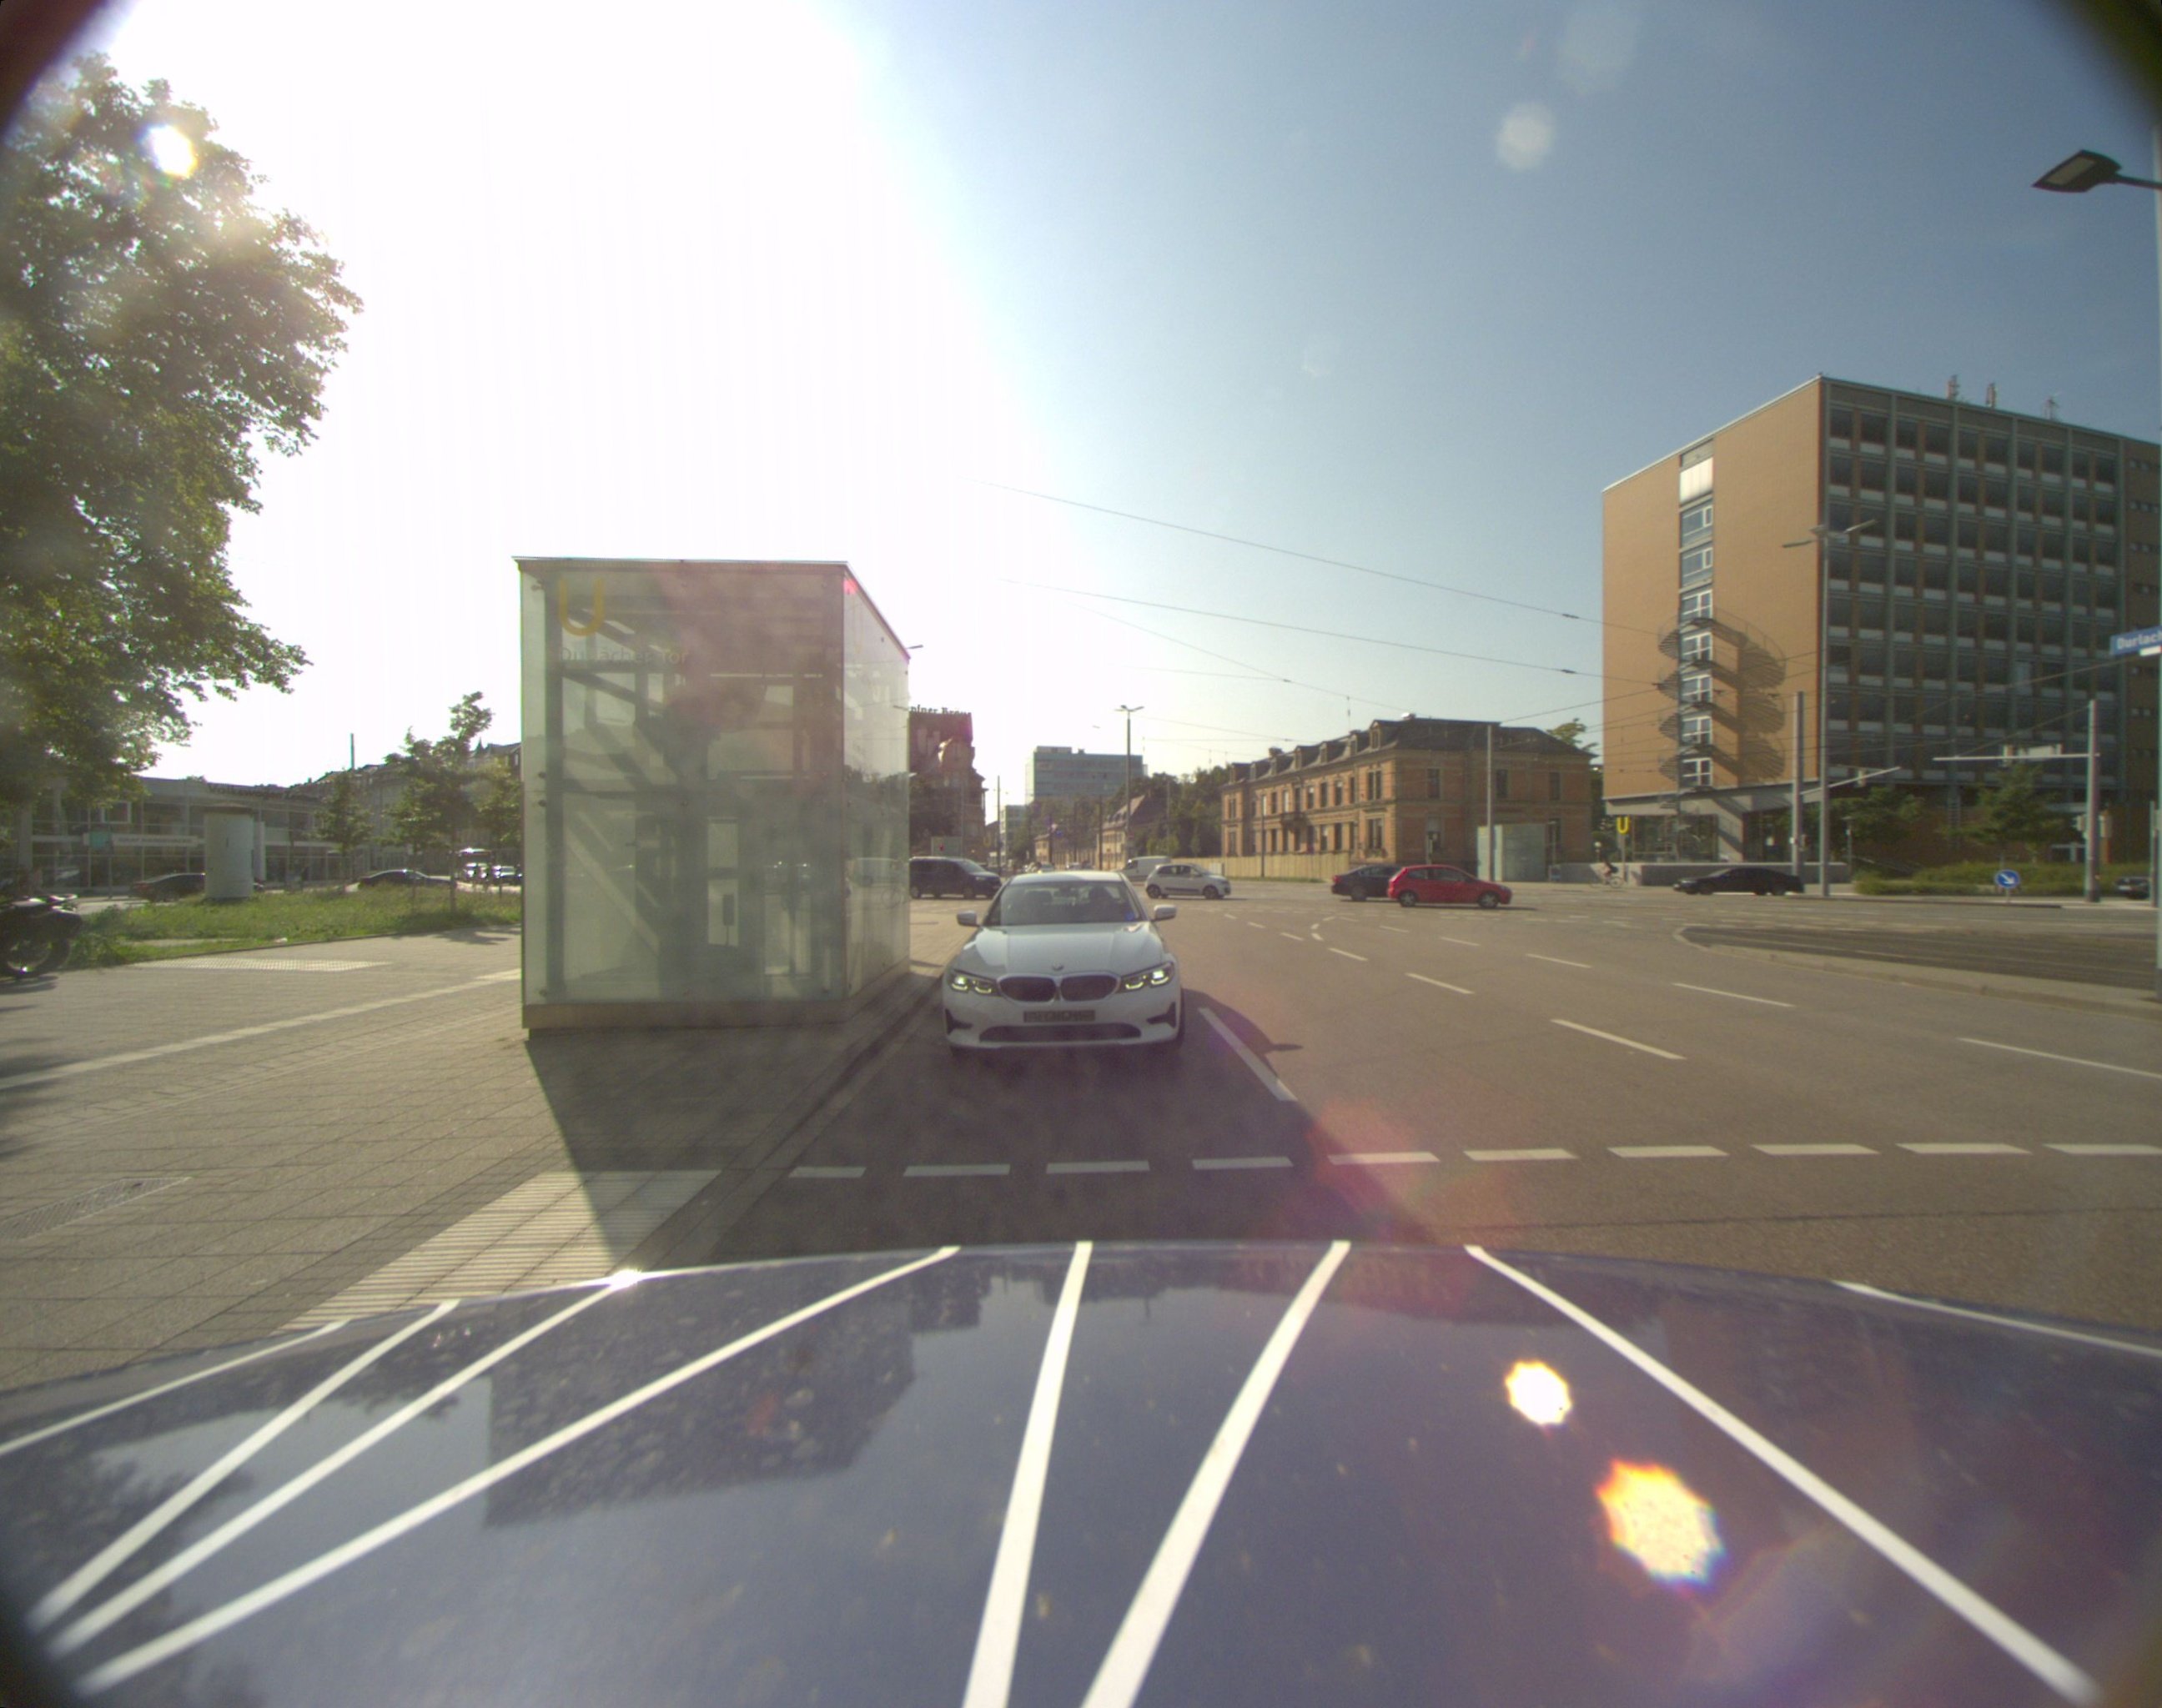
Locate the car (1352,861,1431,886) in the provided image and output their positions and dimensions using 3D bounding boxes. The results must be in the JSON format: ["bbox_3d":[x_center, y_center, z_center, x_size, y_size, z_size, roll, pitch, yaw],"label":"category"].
[{"bbox_3d":[18.545,1.186,45.567,4.280,1.456,1.677,0,-2,19],"label":"car"}]

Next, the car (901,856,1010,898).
[{"bbox_3d":[-5.733,1.013,34.563,4.761,1.817,1.807,0,0,27],"label":"car"}]

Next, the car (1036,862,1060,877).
[{"bbox_3d":[-3.276,1.526,74.261,1.927,1.368,3.997,0,0,-8],"label":"car"}]

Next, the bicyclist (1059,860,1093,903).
[{"bbox_3d":[-0.160,0.978,27.414,0.970,1.467,1.088,0,2,15],"label":"bicyclist"}]

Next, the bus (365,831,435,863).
[{"bbox_3d":[-67.494,-0.623,75.193,11.464,2.966,2.904,0,0,37],"label":"bus"}]

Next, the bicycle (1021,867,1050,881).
[{"bbox_3d":[-3.549,1.539,59.539,2.184,1.089,0.529,0,0,7],"label":"bicycle"}]

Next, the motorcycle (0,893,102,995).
[{"bbox_3d":[-12.997,1.068,8.563,0.704,1.140,2.304,0,0,16],"label":"motorcycle"}]

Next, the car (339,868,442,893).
[{"bbox_3d":[-41.544,1.580,45.783,1.994,1.362,4.408,0,0,42],"label":"car"}]

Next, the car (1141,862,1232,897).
[{"bbox_3d":[4.567,1.056,32.894,3.548,1.427,1.806,0,0,25],"label":"car"}]

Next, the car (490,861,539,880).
[{"bbox_3d":[-44.461,1.258,59.646,3.621,1.433,1.807,0,0,31],"label":"car"}]

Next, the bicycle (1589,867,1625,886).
[{"bbox_3d":[32.459,1.386,46.929,1.768,1.187,0.402,0,0,26],"label":"bicycle"}]

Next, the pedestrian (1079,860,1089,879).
[{"bbox_3d":[0.259,1.357,65.731,0.792,1.677,0.661,0,0,9],"label":"pedestrian"}]

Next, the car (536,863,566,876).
[{"bbox_3d":[-61.865,1.753,88.727,3.829,1.452,1.745,0,0,37],"label":"car"}]

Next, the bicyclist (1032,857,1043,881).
[{"bbox_3d":[-3.431,1.141,59.519,0.709,1.851,0.782,0,0,7],"label":"bicyclist"}]

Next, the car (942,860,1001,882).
[{"bbox_3d":[-8.093,1.251,56.434,3.967,1.572,1.747,0,-1,19],"label":"car"}]

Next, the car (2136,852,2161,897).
[{"bbox_3d":[42.612,0.758,27.850,4.281,1.696,1.955,0,-2,16],"label":"car"}]

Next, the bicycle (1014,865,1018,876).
[{"bbox_3d":[-6.489,1.627,75.709,0.401,1.084,1.927,0,0,-6],"label":"bicycle"}]

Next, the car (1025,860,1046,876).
[{"bbox_3d":[-5.073,1.532,84.430,1.927,1.626,3.997,0,0,-8],"label":"car"}]

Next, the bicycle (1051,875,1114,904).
[{"bbox_3d":[0.056,1.296,27.498,2.193,0.983,0.530,-2,1,15],"label":"bicycle"}]

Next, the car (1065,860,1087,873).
[{"bbox_3d":[-0.549,1.271,78.037,1.693,1.319,3.997,0,0,-8],"label":"car"}]

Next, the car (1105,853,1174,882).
[{"bbox_3d":[3.933,0.929,50.747,4.280,1.874,1.798,0,-2,20],"label":"car"}]

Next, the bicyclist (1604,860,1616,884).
[{"bbox_3d":[32.628,1.103,46.831,0.547,1.471,0.398,0,0,26],"label":"bicyclist"}]

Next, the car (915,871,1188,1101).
[{"bbox_3d":[-0.216,0.956,7.601,1.814,1.419,4.774,-2,0,0],"label":"car"}]

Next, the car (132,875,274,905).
[{"bbox_3d":[-45.292,1.824,39.321,1.995,1.362,4.406,0,0,25],"label":"car"}]

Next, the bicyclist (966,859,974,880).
[{"bbox_3d":[-9.228,1.253,63.105,0.587,1.720,0.595,0,0,-14],"label":"bicyclist"}]

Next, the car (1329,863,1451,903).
[{"bbox_3d":[12.103,1.093,29.852,4.339,1.443,1.806,0,0,24],"label":"car"}]

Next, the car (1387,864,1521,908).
[{"bbox_3d":[12.716,1.060,26.155,3.990,1.407,1.806,0,0,23],"label":"car"}]

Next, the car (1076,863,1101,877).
[{"bbox_3d":[0.668,1.476,71.160,1.693,1.319,3.997,0,0,-8],"label":"car"}]

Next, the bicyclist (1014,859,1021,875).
[{"bbox_3d":[-6.309,1.277,75.513,0.662,1.627,0.918,0,0,-7],"label":"bicyclist"}]

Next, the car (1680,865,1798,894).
[{"bbox_3d":[34.170,1.307,39.603,4.315,1.456,1.677,0,-2,19],"label":"car"}]
